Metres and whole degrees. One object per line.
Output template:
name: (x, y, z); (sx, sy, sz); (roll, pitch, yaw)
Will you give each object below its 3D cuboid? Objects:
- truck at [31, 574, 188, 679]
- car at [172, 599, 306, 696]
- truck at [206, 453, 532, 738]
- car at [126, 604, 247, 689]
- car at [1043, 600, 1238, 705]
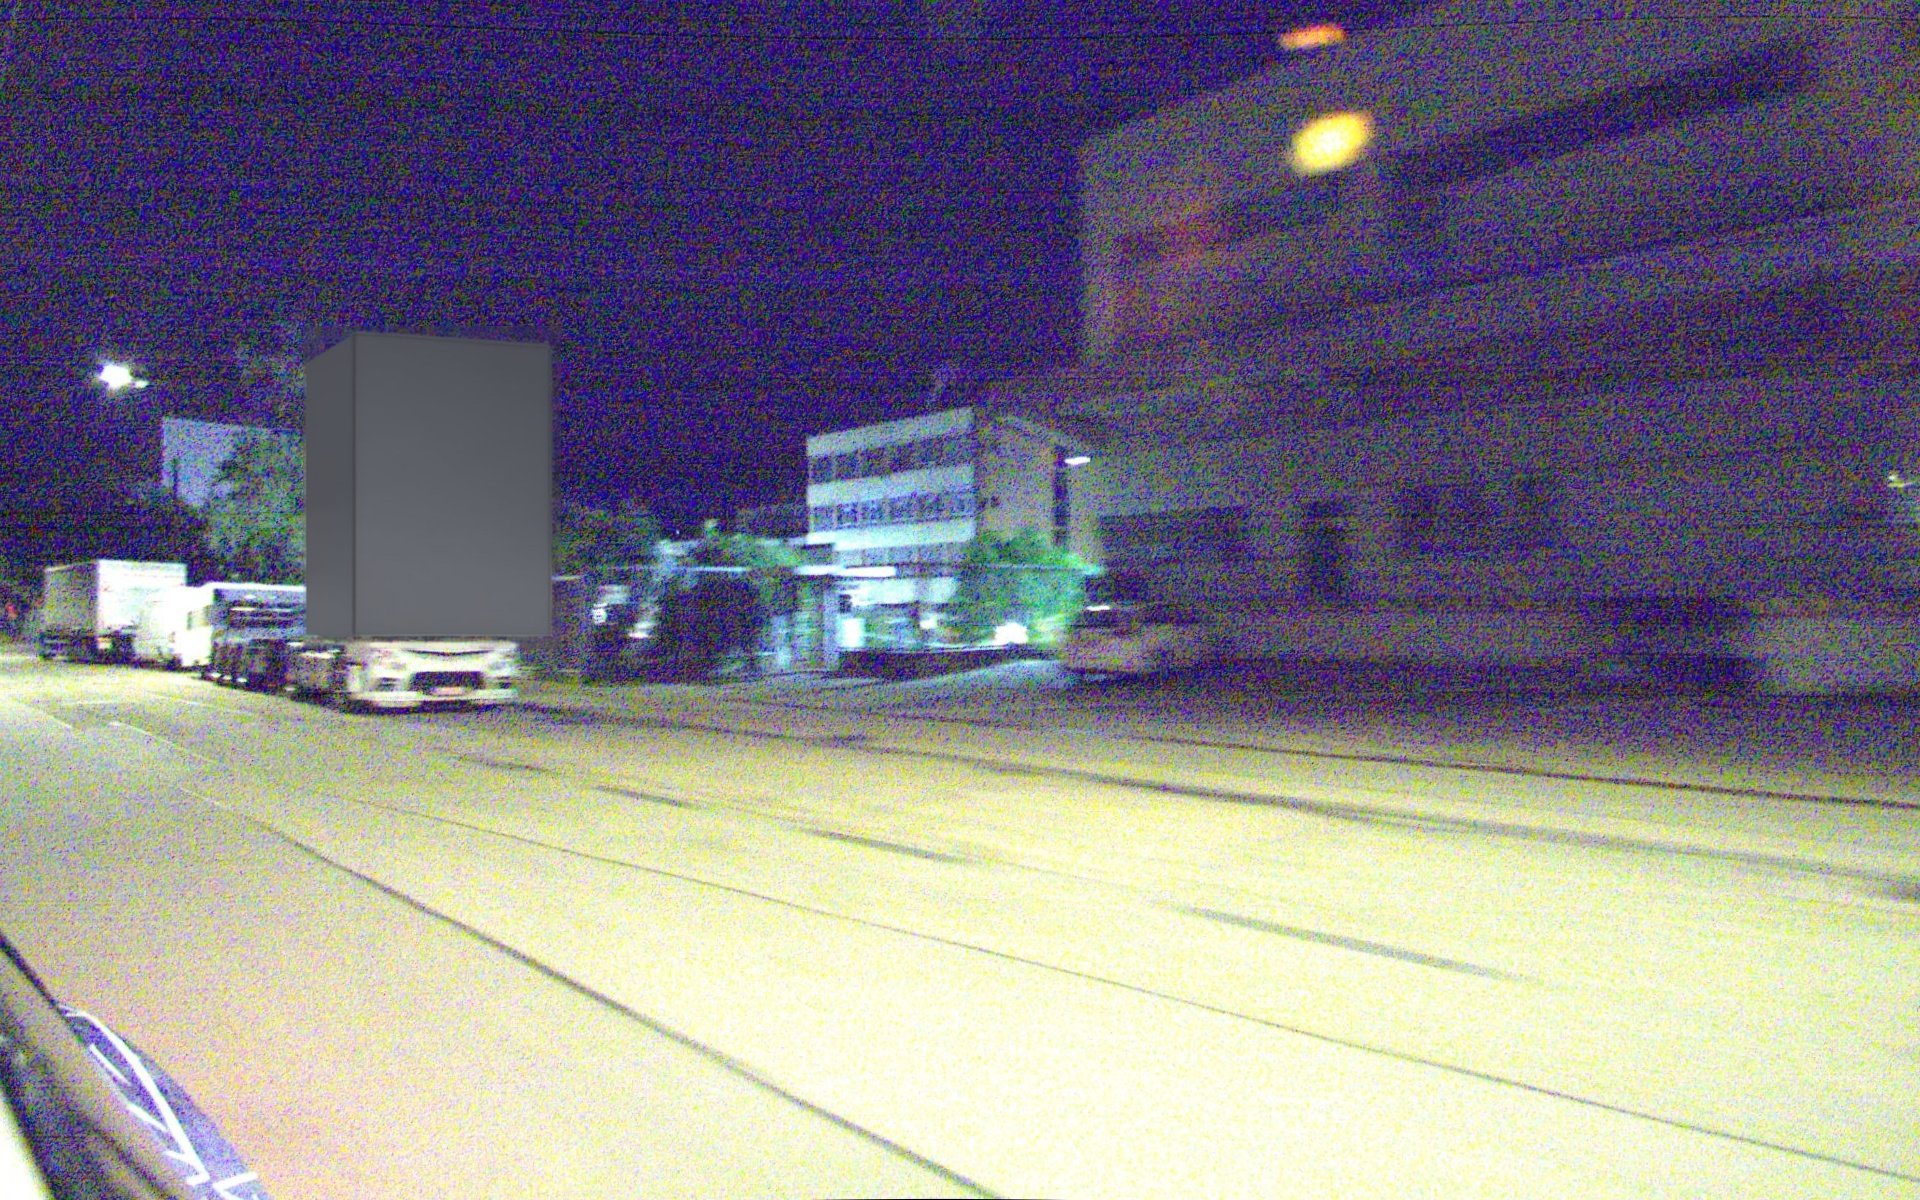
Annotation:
truck: (-33.539, 1.017, 39.693); (10.390, 3.659, 2.794); (-1, 0, 39)
car: (-19.278, 1.207, 26.992); (4.469, 2.330, 2.116); (-2, 0, 44)
truck: (-12.786, -0.014, 20.903); (2.607, 4.347, 12.831); (2, -2, -45)
car: (-24.991, 1.440, 32.604); (5.742, 2.461, 1.973); (-1, 0, 41)
car: (3.422, 0.881, 18.704); (1.804, 1.474, 3.948); (-2, 3, 40)
